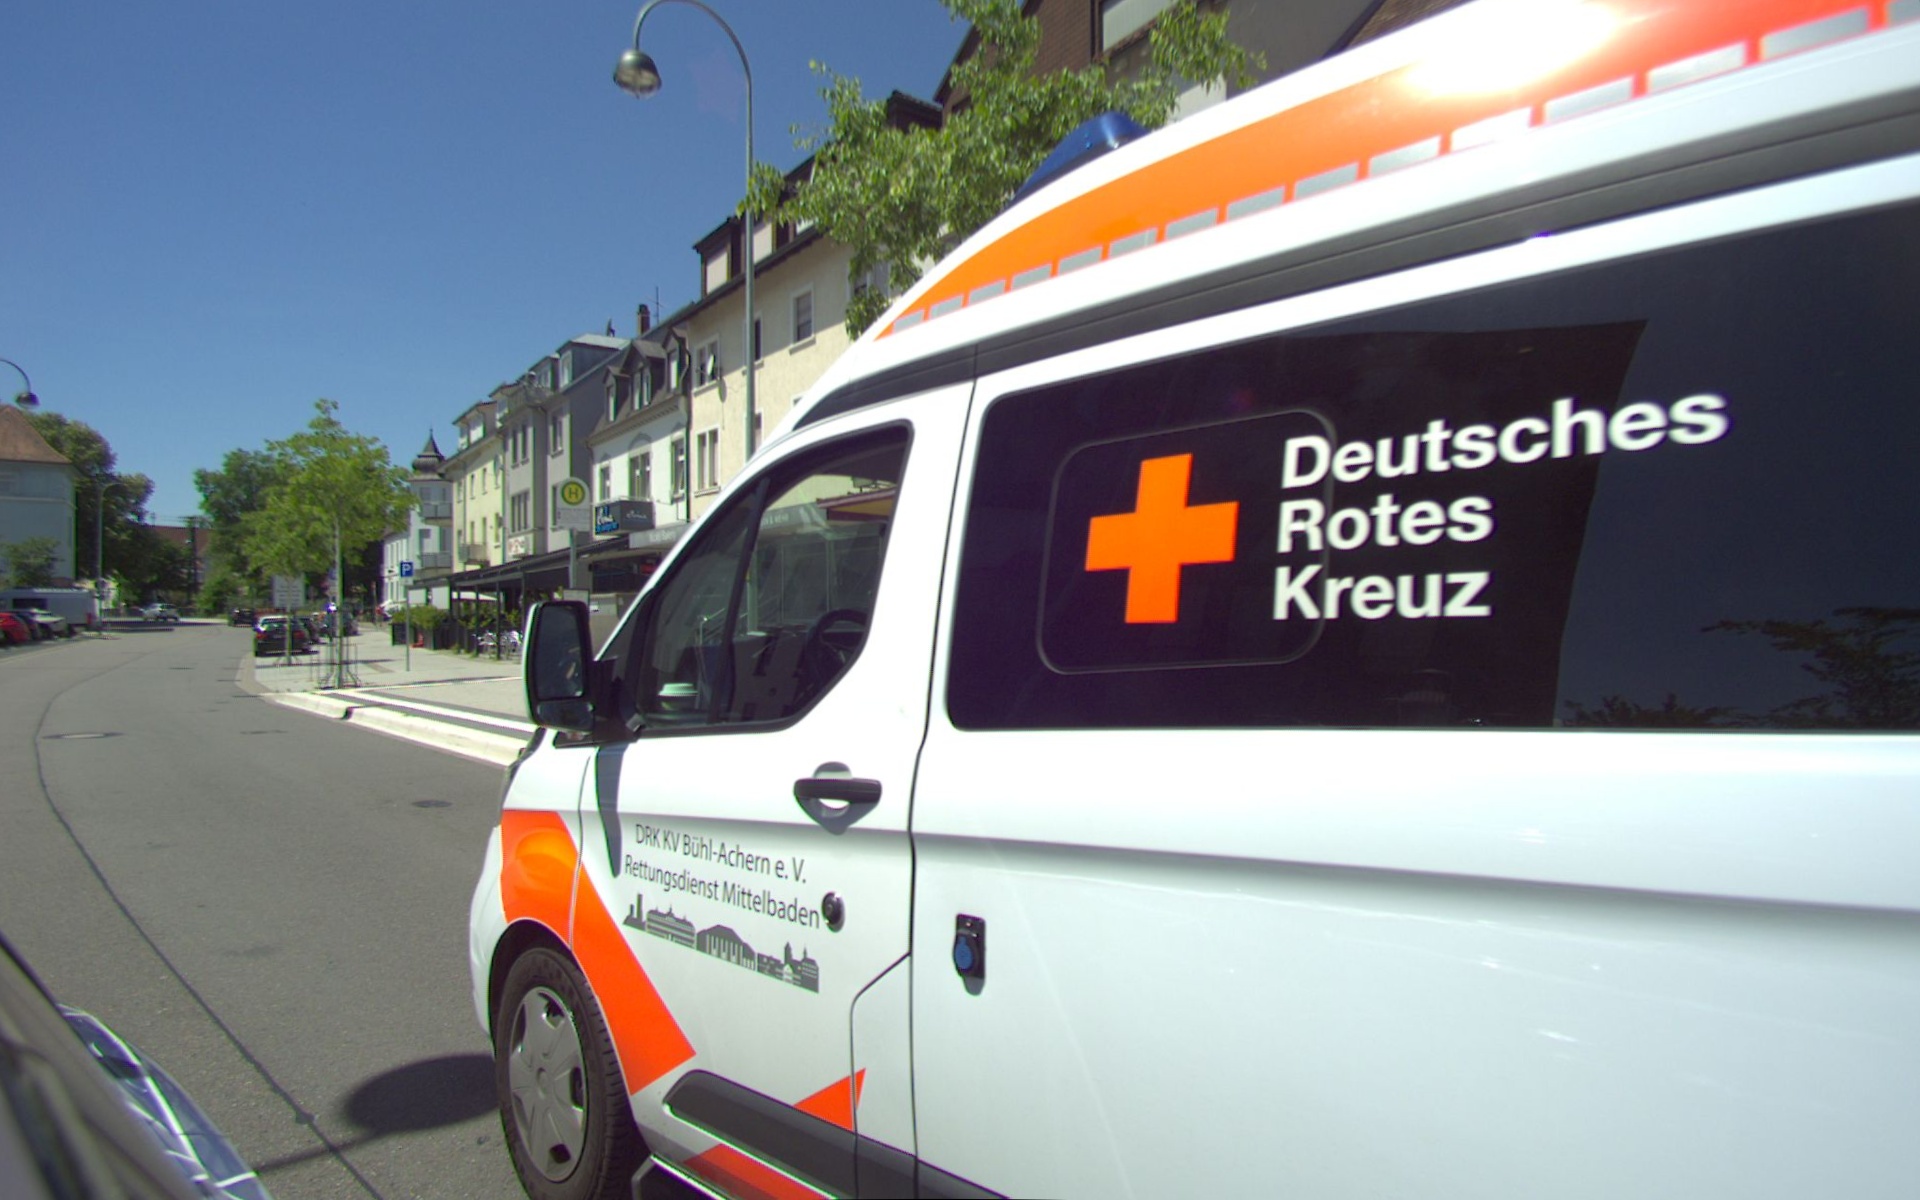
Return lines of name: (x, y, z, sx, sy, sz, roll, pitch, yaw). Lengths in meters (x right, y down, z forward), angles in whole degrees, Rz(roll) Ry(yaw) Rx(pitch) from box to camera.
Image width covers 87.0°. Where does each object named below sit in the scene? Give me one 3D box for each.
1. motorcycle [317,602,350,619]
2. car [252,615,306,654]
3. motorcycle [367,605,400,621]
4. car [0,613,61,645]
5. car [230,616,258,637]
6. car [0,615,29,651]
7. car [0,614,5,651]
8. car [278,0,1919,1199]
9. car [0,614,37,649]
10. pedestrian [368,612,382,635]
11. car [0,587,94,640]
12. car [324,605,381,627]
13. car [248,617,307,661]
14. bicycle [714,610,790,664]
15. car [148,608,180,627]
motorcycle: (-51.445, 0.847, 83.123, 2.285, 1.335, 0.727, 1, -1, -33)
car: (-29.625, 1.461, 44.080, 1.658, 1.495, 3.780, -2, 1, -30)
motorcycle: (-46.774, 1.056, 82.171, 2.285, 1.335, 0.727, 1, -1, -33)
car: (-47.280, 1.424, 49.818, 4.312, 1.541, 1.723, 1, -2, -36)
car: (-52.565, 1.954, 74.298, 1.595, 1.465, 3.873, 3, -2, -36)
car: (-41.386, 1.364, 42.078, 3.758, 1.473, 1.656, 1, -1, -37)
car: (-40.187, 1.267, 39.813, 3.560, 1.473, 1.620, 2, -2, -37)
car: (0.826, 0.244, 2.027, 5.241, 2.380, 2.135, -1, -2, 39)
car: (-44.174, 1.386, 45.142, 4.291, 1.562, 1.655, 1, -1, -39)
pedestrian: (-44.718, 1.794, 77.345, 0.803, 1.779, 0.747, -1, -2, 45)
car: (-49.643, 0.752, 54.182, 4.790, 2.757, 1.855, 1, -1, -35)
car: (-51.432, 1.351, 85.743, 4.013, 1.752, 1.820, 1, -1, -31)
car: (-26.743, 1.476, 39.613, 1.731, 1.456, 4.460, -4, 2, -36)
bicycle: (-5.265, 0.929, 25.657, 1.742, 1.243, 0.617, -3, 1, -36)
car: (-69.409, 1.535, 88.236, 1.661, 1.495, 4.088, 5, -4, -45)
